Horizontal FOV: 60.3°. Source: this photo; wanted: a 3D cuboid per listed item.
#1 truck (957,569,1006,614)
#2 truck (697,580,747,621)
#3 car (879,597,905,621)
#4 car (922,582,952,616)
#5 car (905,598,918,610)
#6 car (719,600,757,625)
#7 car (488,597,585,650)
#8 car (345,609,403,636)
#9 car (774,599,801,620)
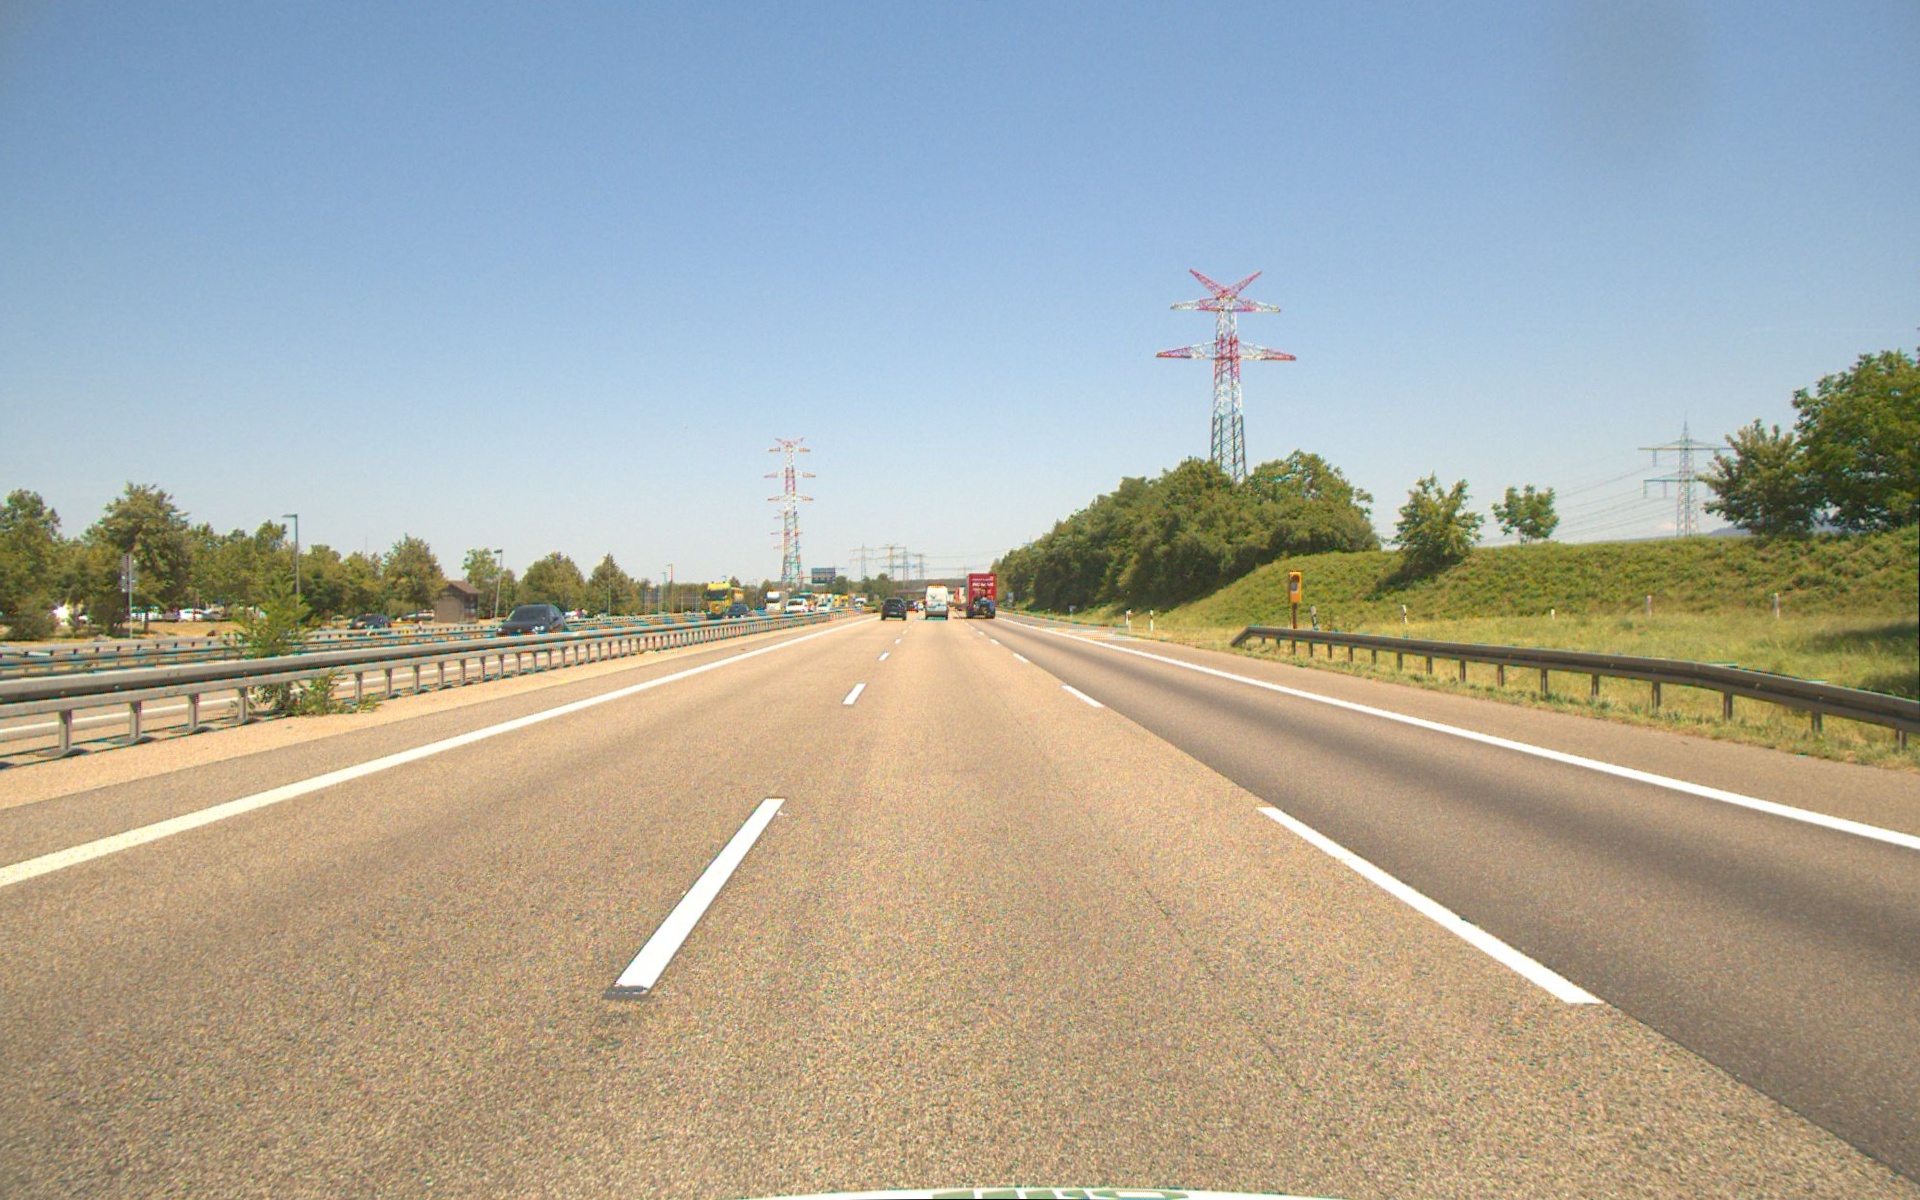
[{"bbox_3d":[1.938,-0.809,157.206,4.243,4.010,16.074,1,0,-1],"label":"truck"},{"bbox_3d":[-23.402,0.036,163.142,3.107,3.877,13.528,-1,0,-1],"label":"truck"},{"bbox_3d":[-5.350,0.703,130.364,1.953,1.780,3.999,1,0,-2],"label":"car"},{"bbox_3d":[-2.014,-0.108,143.638,2.568,2.807,6.095,1,0,-1],"label":"car"},{"bbox_3d":[-6.669,0.532,227.437,1.712,1.662,4.002,1,0,-1],"label":"car"},{"bbox_3d":[-15.287,0.842,114.147,2.011,1.578,4.889,-3,0,-2],"label":"car"},{"bbox_3d":[-14.063,0.732,55.225,2.011,1.578,4.889,-3,0,-2],"label":"car"},{"bbox_3d":[-37.358,1.426,105.567,2.011,1.578,4.889,-3,0,-2],"label":"car"},{"bbox_3d":[-15.962,0.866,153.557,2.011,1.875,5.941,-1,0,-2],"label":"car"}]
